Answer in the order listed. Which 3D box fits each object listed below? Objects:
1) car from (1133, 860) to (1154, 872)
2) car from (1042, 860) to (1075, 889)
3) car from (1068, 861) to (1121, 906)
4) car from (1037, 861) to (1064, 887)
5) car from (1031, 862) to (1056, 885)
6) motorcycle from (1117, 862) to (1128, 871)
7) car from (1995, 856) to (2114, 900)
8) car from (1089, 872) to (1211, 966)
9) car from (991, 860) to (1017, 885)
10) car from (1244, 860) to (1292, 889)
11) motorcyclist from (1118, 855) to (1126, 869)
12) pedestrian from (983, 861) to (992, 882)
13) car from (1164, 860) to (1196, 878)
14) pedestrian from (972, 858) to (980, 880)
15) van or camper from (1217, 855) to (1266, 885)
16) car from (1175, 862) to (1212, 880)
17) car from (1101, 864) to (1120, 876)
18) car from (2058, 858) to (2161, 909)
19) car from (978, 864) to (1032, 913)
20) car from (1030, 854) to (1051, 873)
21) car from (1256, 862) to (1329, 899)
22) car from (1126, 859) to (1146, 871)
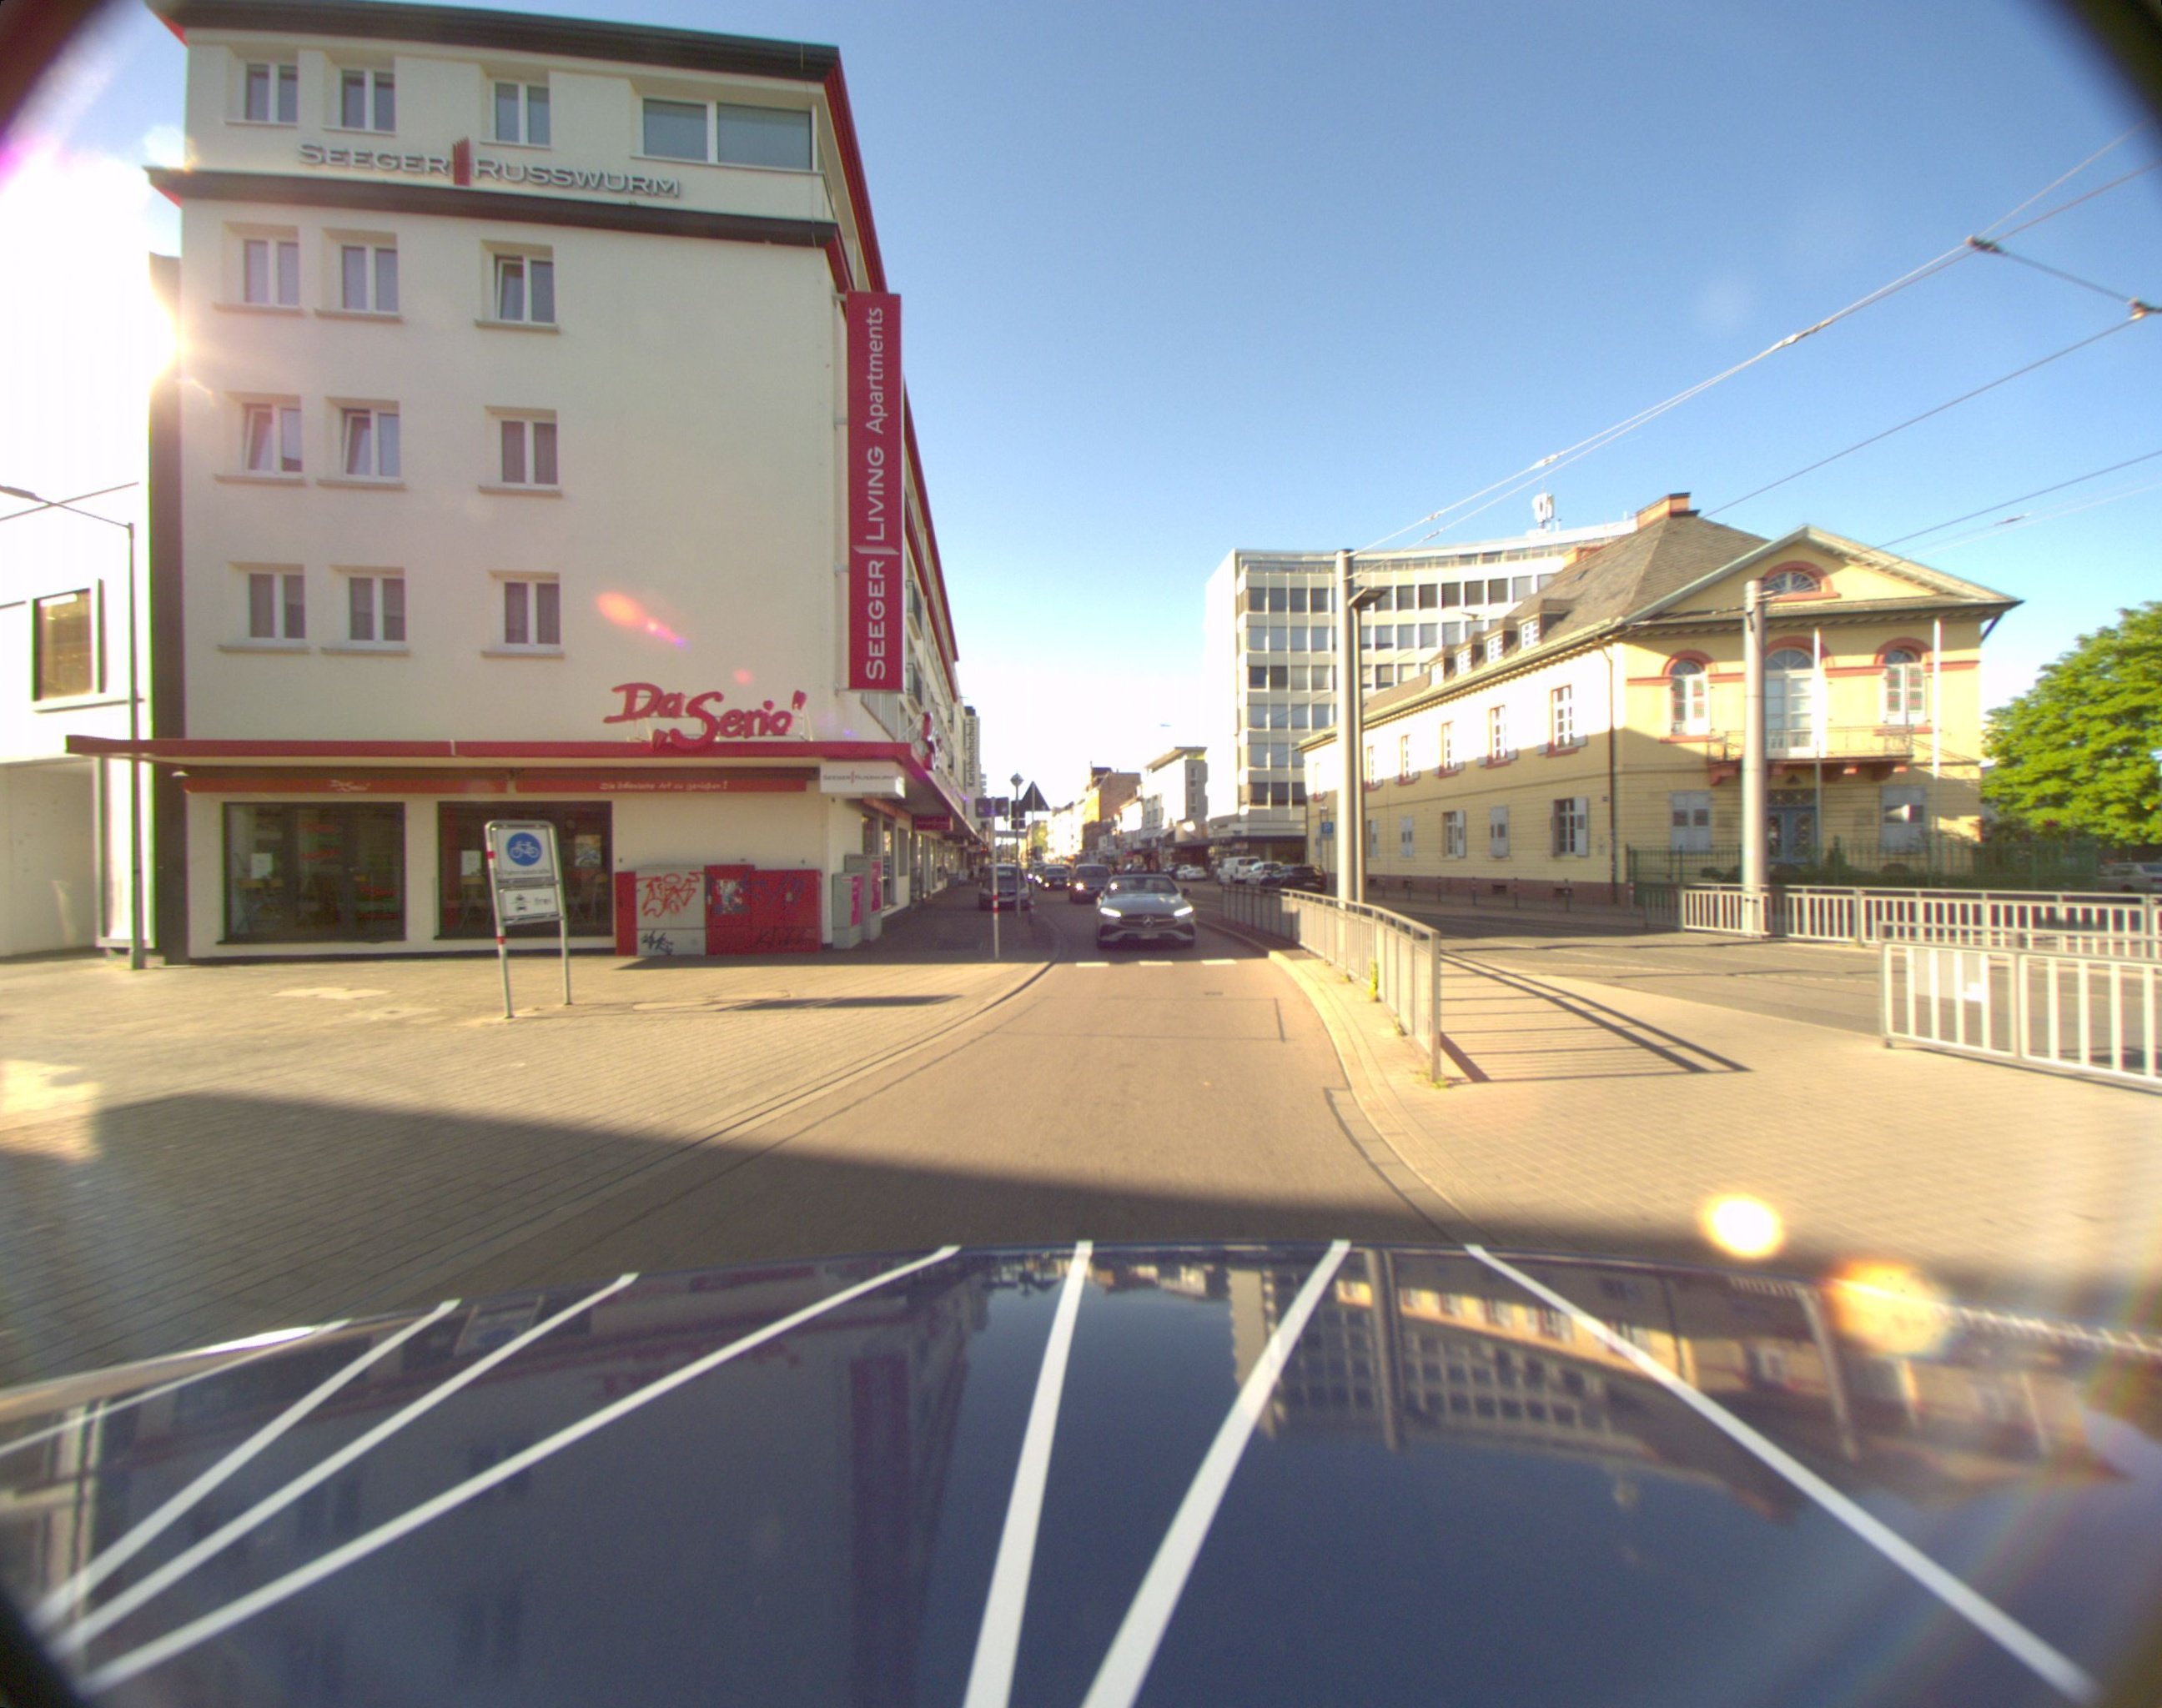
[{"bbox_3d":[7.348,1.419,90.143,1.787,1.408,3.595,-1,0,-7],"label":"car"},{"bbox_3d":[-1.406,1.229,46.939,1.784,1.653,3.959,1,0,-5],"label":"car"},{"bbox_3d":[0.482,1.150,31.206,1.738,1.653,3.959,1,0,-5],"label":"car"},{"bbox_3d":[-2.196,1.394,53.983,1.738,1.653,3.959,1,0,-5],"label":"car"},{"bbox_3d":[-2.961,1.495,59.560,1.738,1.653,3.779,1,0,-5],"label":"car"},{"bbox_3d":[4.581,1.422,84.916,0.601,0.921,2.153,-1,0,-14],"label":"motorcycle"},{"bbox_3d":[40.027,0.939,31.361,1.797,1.660,3.763,0,1,31],"label":"car"},{"bbox_3d":[1.194,1.168,15.311,1.869,1.430,4.773,-1,0,-2],"label":"car"},{"bbox_3d":[-5.522,1.326,55.024,1.784,1.653,4.161,1,0,-5],"label":"car"},{"bbox_3d":[11.730,1.242,47.942,1.782,1.611,4.174,-2,1,-3],"label":"car"},{"bbox_3d":[4.567,0.914,84.955,0.654,1.549,0.883,-1,1,-14],"label":"motorcyclist"},{"bbox_3d":[-7.975,1.489,64.937,0.738,1.807,0.748,-1,1,-8],"label":"pedestrian"},{"bbox_3d":[9.349,1.394,72.083,1.932,1.632,4.279,-2,1,-8],"label":"car"},{"bbox_3d":[-9.055,1.280,65.454,0.706,1.807,0.807,-1,1,-8],"label":"pedestrian"},{"bbox_3d":[11.252,1.094,53.672,1.960,1.962,4.794,-2,1,-6],"label":"van or camper"},{"bbox_3d":[9.854,1.490,66.935,1.932,1.444,4.290,-2,1,-9],"label":"car"},{"bbox_3d":[3.661,1.963,94.808,1.782,1.500,4.668,1,0,-4],"label":"car"},{"bbox_3d":[37.349,0.996,26.938,1.889,1.660,3.871,0,0,27],"label":"car"},{"bbox_3d":[-2.729,1.197,27.474,1.782,1.559,3.959,1,0,-5],"label":"car"},{"bbox_3d":[-3.775,0.897,70.066,1.738,1.653,3.959,1,0,-5],"label":"car"},{"bbox_3d":[9.768,1.196,35.400,1.690,1.551,4.119,-1,0,-9],"label":"car"},{"bbox_3d":[6.877,1.369,95.474,1.787,1.511,3.831,-1,0,-6],"label":"car"}]
